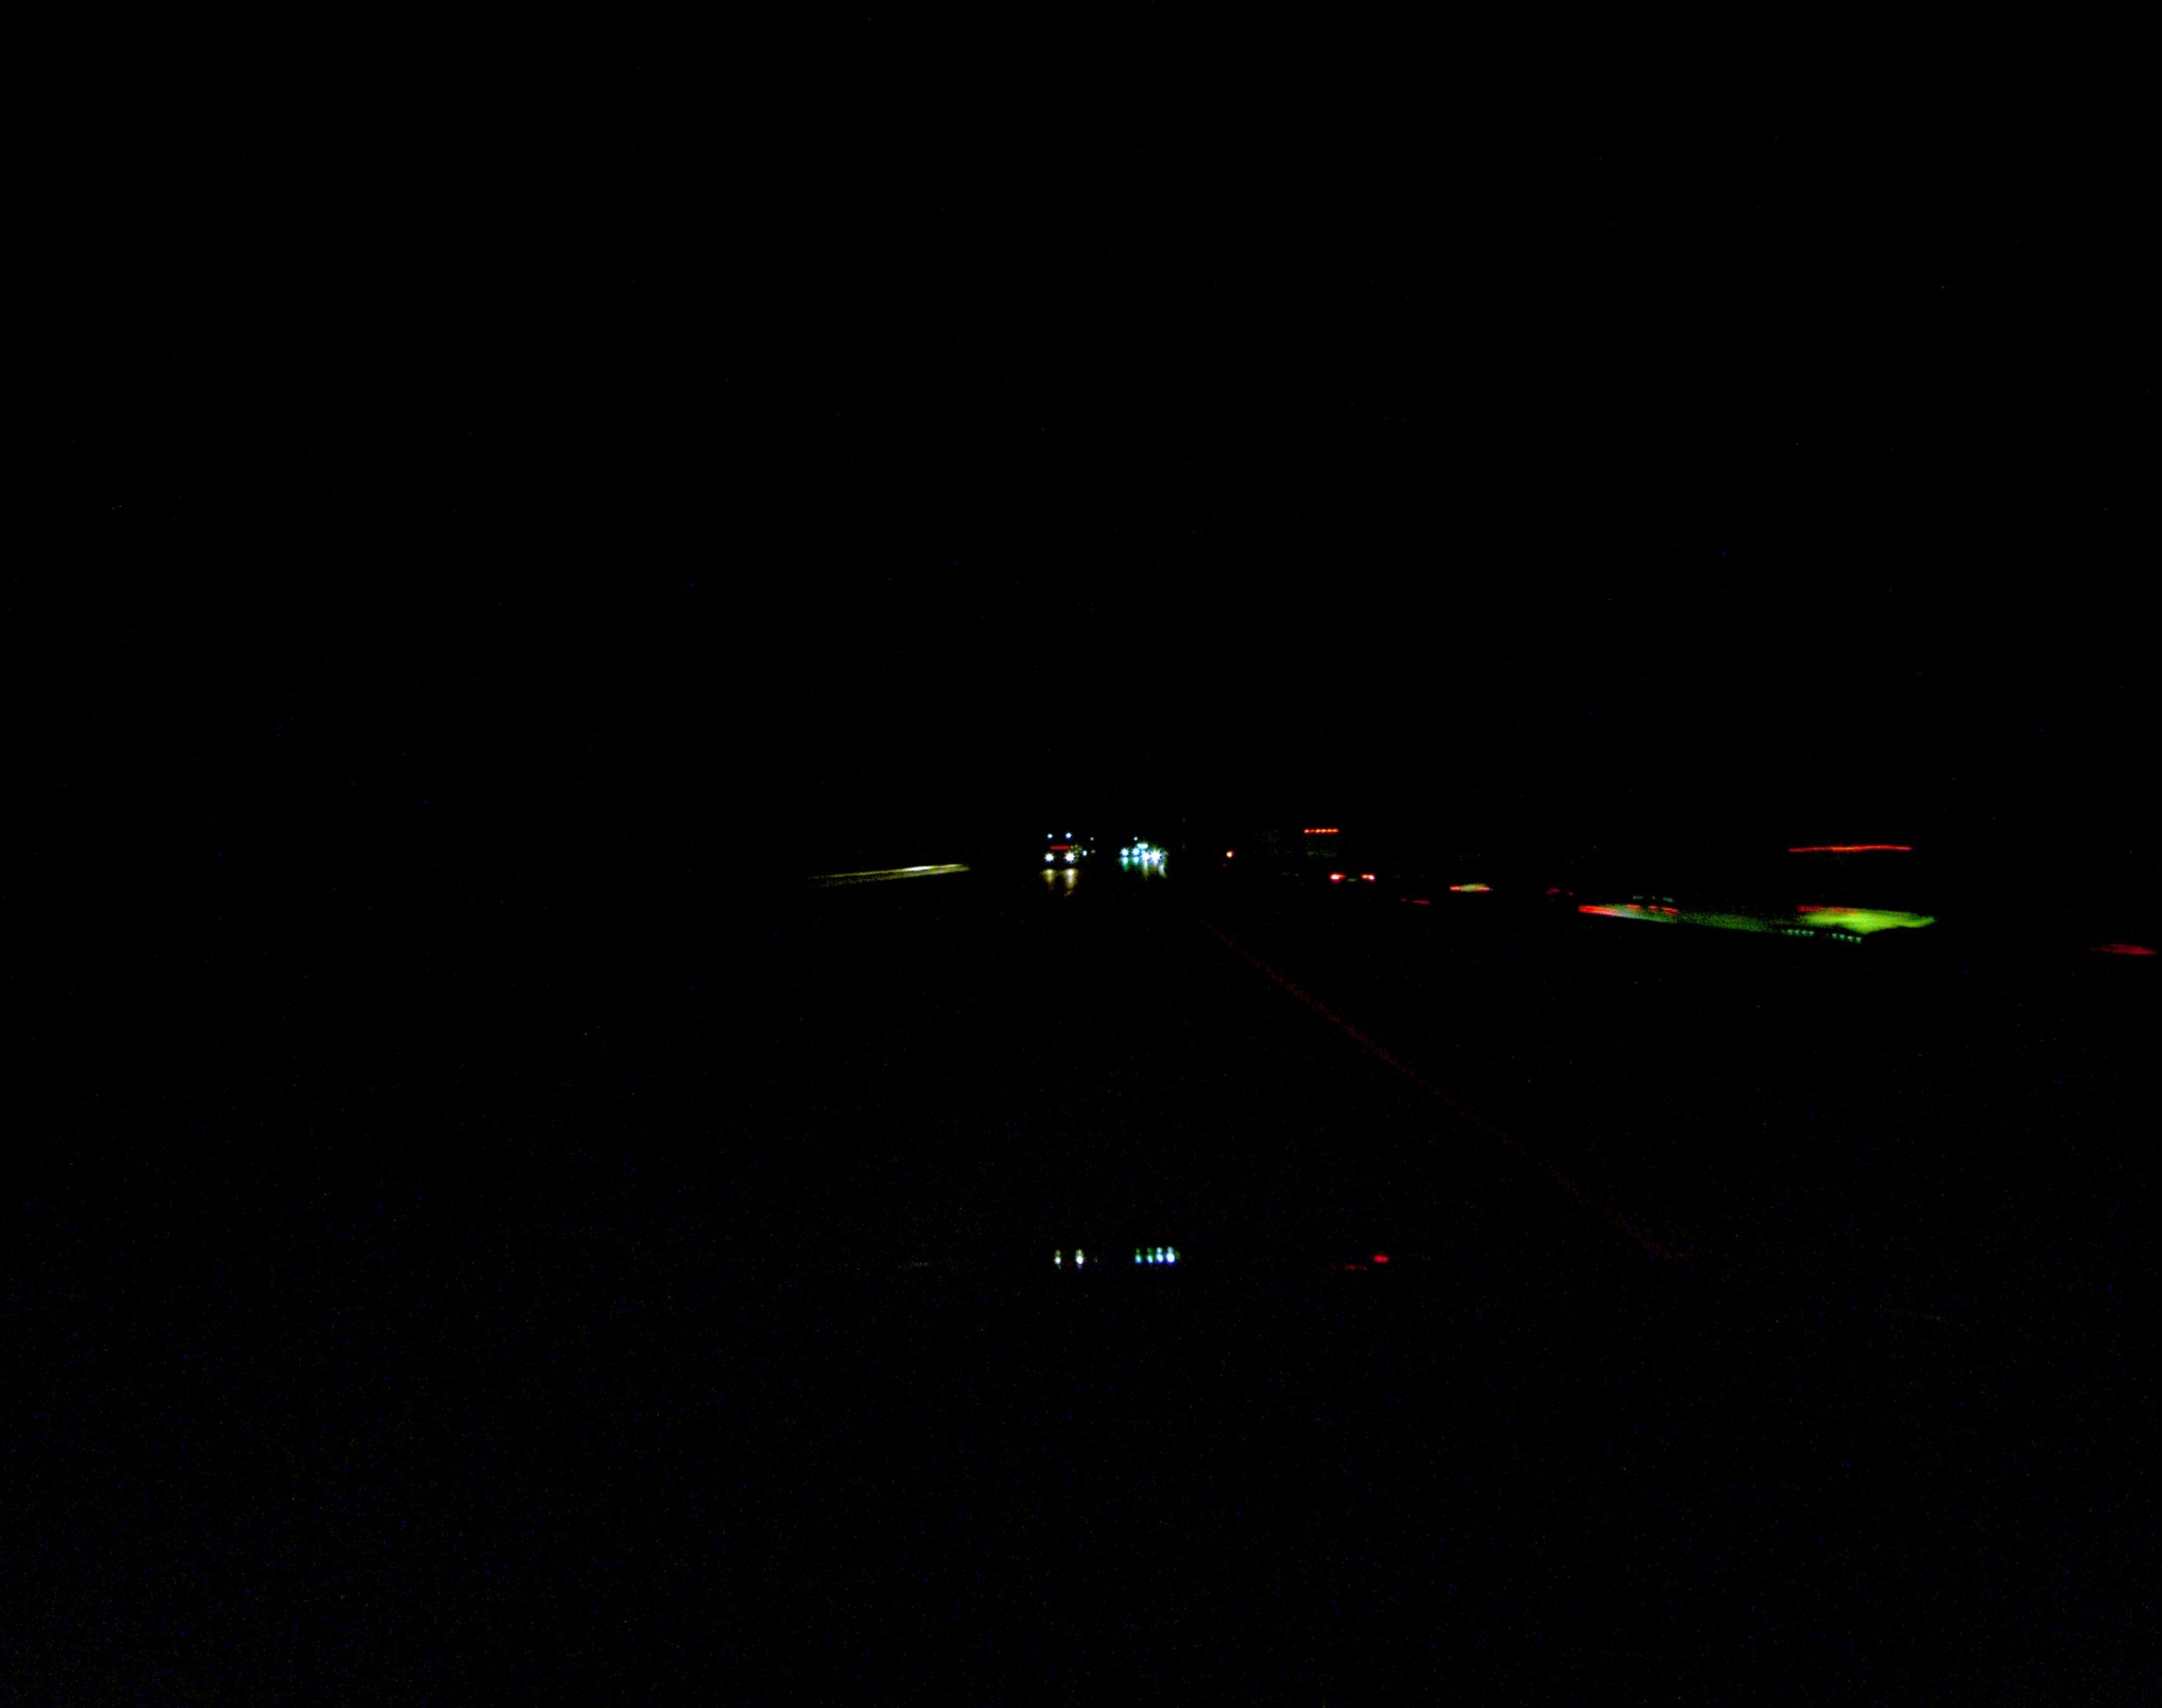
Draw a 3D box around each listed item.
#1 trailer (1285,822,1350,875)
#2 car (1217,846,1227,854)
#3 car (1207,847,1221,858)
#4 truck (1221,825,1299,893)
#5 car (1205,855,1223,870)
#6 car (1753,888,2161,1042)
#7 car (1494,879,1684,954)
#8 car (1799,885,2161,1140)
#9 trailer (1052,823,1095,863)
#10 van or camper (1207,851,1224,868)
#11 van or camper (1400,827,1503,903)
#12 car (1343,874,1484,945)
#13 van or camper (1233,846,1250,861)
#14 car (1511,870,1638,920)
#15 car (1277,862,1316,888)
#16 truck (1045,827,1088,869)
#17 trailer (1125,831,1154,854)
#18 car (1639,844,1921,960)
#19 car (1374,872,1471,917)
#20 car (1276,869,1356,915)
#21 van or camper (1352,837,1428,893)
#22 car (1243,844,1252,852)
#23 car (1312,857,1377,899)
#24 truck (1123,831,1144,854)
[{"bbox_3d":[20.878,-0.552,67.935,3.442,4.217,12.837,0,1,8],"label":"trailer"},{"bbox_3d":[26.654,-0.782,143.601,1.819,1.460,4.282,-1,1,11],"label":"car"},{"bbox_3d":[21.376,-0.259,122.201,2.143,1.696,5.116,-1,1,11],"label":"car"},{"bbox_3d":[10.461,0.224,45.348,2.661,3.570,8.549,-3,1,1],"label":"truck"},{"bbox_3d":[14.259,0.872,81.590,1.604,1.434,4.001,-1,1,5],"label":"car"},{"bbox_3d":[12.672,1.396,11.084,1.824,1.506,4.505,-1,1,1],"label":"car"},{"bbox_3d":[12.473,1.454,19.071,1.824,1.443,4.505,-1,1,1],"label":"car"},{"bbox_3d":[7.700,1.059,4.961,1.838,1.443,4.505,-1,1,1],"label":"car"},{"bbox_3d":[-0.674,-1.296,83.710,2.880,3.909,12.889,-3,2,7],"label":"trailer"},{"bbox_3d":[17.260,0.658,97.647,2.034,2.002,4.578,-1,1,8],"label":"van or camper"},{"bbox_3d":[17.648,0.460,36.569,2.274,3.360,5.694,-1,1,1],"label":"van or camper"},{"bbox_3d":[8.506,1.352,19.924,1.824,1.443,4.505,-1,1,1],"label":"car"},{"bbox_3d":[23.192,-0.084,110.080,1.997,2.002,5.224,-1,1,8],"label":"van or camper"},{"bbox_3d":[16.834,1.337,26.191,1.838,1.443,4.001,-1,1,1],"label":"car"},{"bbox_3d":[13.893,1.329,49.159,1.604,1.434,4.139,-1,1,4],"label":"car"},{"bbox_3d":[-1.401,-0.741,77.684,2.872,3.819,8.056,-3,2,8],"label":"truck"},{"bbox_3d":[10.956,-2.237,140.623,2.837,3.952,15.775,-2,1,13],"label":"trailer"},{"bbox_3d":[16.245,0.951,18.203,1.838,2.357,5.447,-1,1,1],"label":"car"},{"bbox_3d":[13.154,1.498,29.622,1.838,1.443,4.505,-1,1,1],"label":"car"},{"bbox_3d":[9.287,1.465,30.437,1.998,1.528,4.146,-1,1,1],"label":"car"},{"bbox_3d":[17.561,0.559,43.531,1.838,2.954,6.400,-1,1,1],"label":"van or camper"},{"bbox_3d":[36.328,-1.323,165.857,1.819,1.460,4.282,-1,1,11],"label":"car"},{"bbox_3d":[13.945,1.242,40.463,1.999,2.002,3.999,-2,1,-1],"label":"car"},{"bbox_3d":[9.254,-2.029,132.800,2.897,3.949,4.003,-2,1,13],"label":"truck"}]
